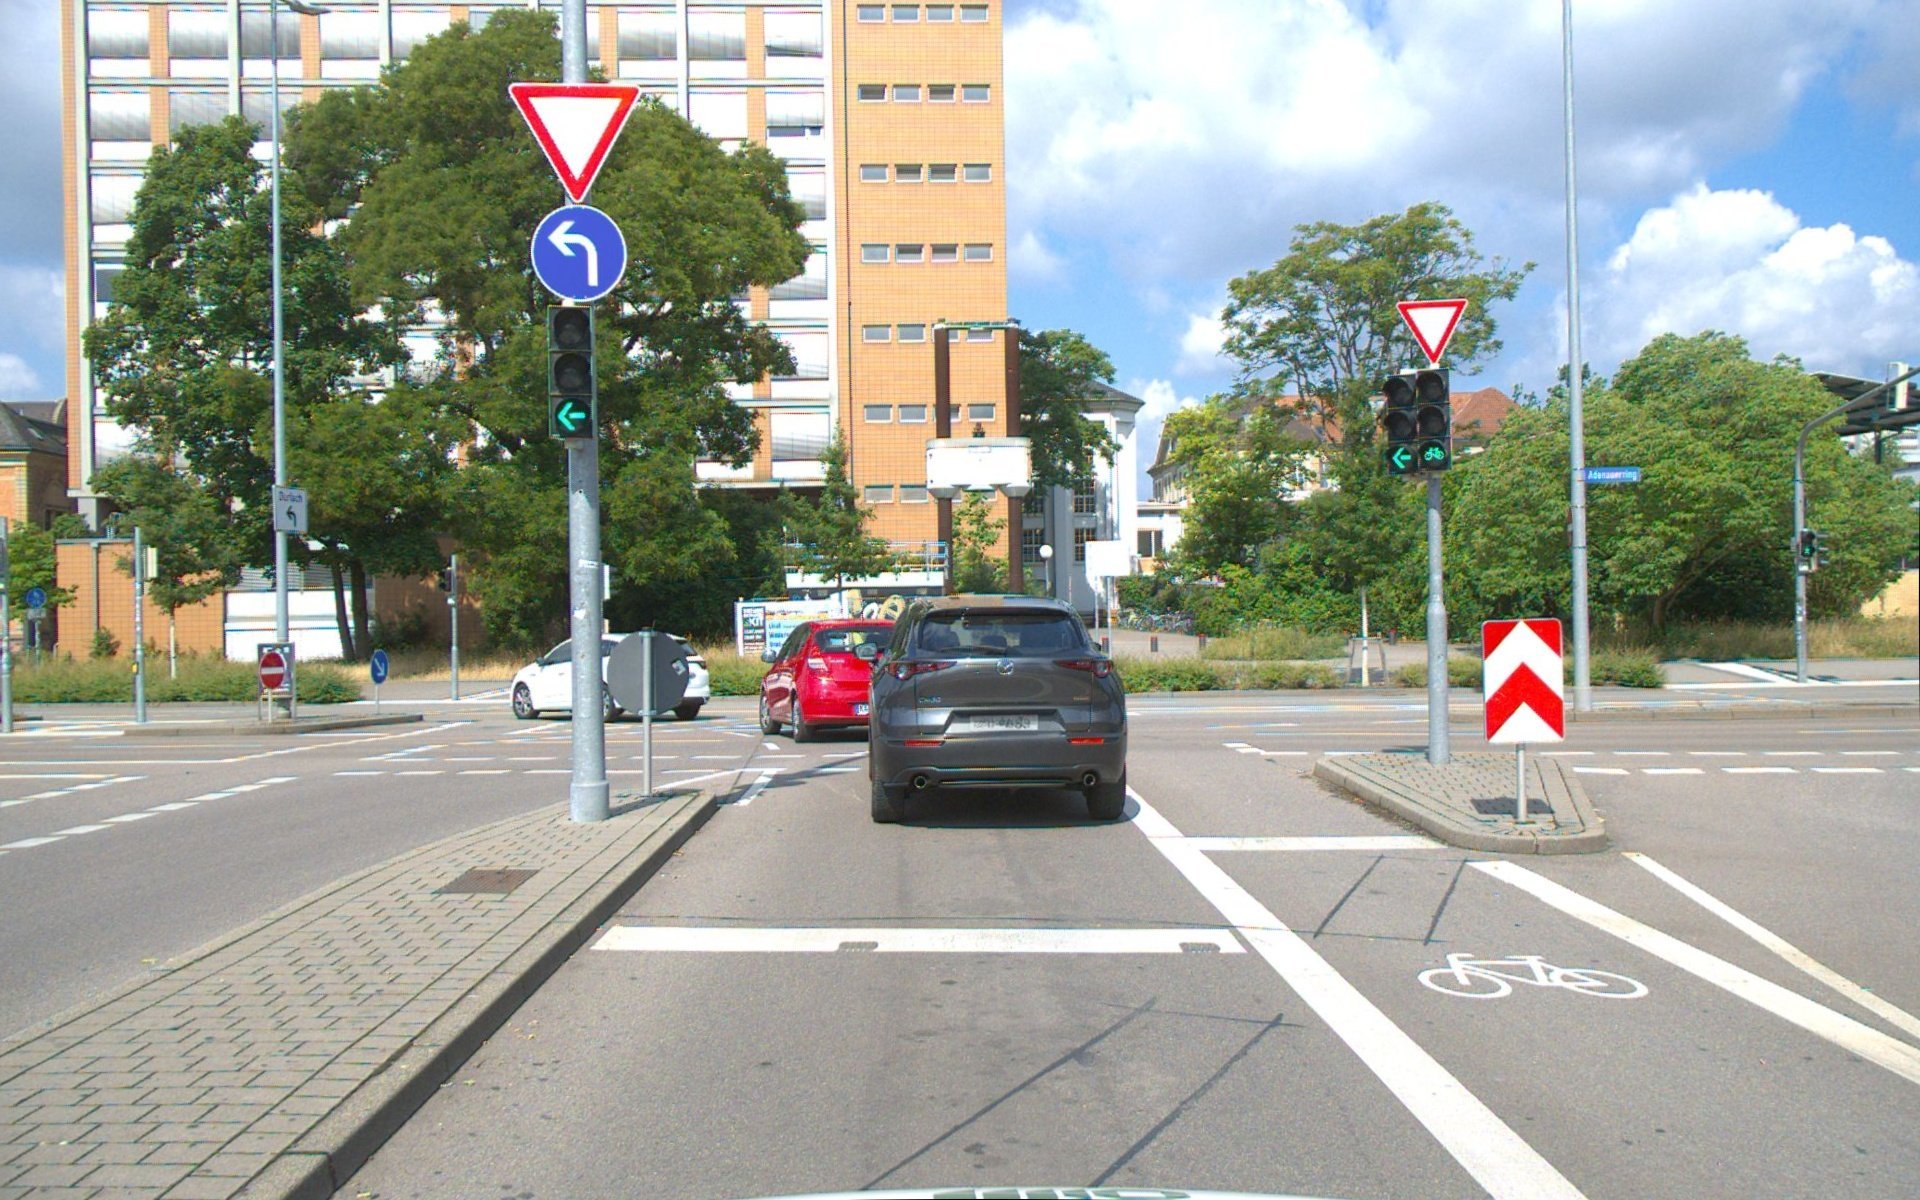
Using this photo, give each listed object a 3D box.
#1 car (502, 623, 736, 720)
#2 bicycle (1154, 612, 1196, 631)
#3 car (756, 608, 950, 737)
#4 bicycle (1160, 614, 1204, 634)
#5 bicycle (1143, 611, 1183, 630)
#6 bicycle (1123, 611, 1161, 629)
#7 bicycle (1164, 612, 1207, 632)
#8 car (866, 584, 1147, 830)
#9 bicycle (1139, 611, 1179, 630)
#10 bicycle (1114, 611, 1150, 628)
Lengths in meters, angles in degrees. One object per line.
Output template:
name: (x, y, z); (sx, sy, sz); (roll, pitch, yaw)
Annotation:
car: (-5.896, 1.226, 28.324); (4.260, 1.498, 1.842); (-3, -2, 44)
bicycle: (11.056, 1.100, 85.106); (2.014, 0.953, 0.804); (-1, -1, -3)
car: (-1.469, 0.922, 21.084); (1.785, 1.465, 4.052); (0, -3, -14)
bicycle: (10.871, 1.176, 81.116); (2.014, 0.953, 0.804); (-1, -1, -3)
bicycle: (10.862, 1.115, 88.579); (2.014, 0.953, 0.804); (-1, -1, -3)
bicycle: (10.267, 1.129, 93.293); (2.014, 0.953, 0.804); (-1, -1, -3)
bicycle: (11.422, 1.099, 83.780); (2.014, 0.953, 0.804); (-1, -1, -3)
car: (0.204, 0.696, 12.621); (1.770, 1.534, 4.202); (1, 0, -3)
bicycle: (10.762, 1.117, 89.569); (2.014, 0.953, 0.804); (-1, -1, -3)
bicycle: (10.231, 1.150, 98.152); (2.014, 0.953, 0.804); (-1, -1, -3)
